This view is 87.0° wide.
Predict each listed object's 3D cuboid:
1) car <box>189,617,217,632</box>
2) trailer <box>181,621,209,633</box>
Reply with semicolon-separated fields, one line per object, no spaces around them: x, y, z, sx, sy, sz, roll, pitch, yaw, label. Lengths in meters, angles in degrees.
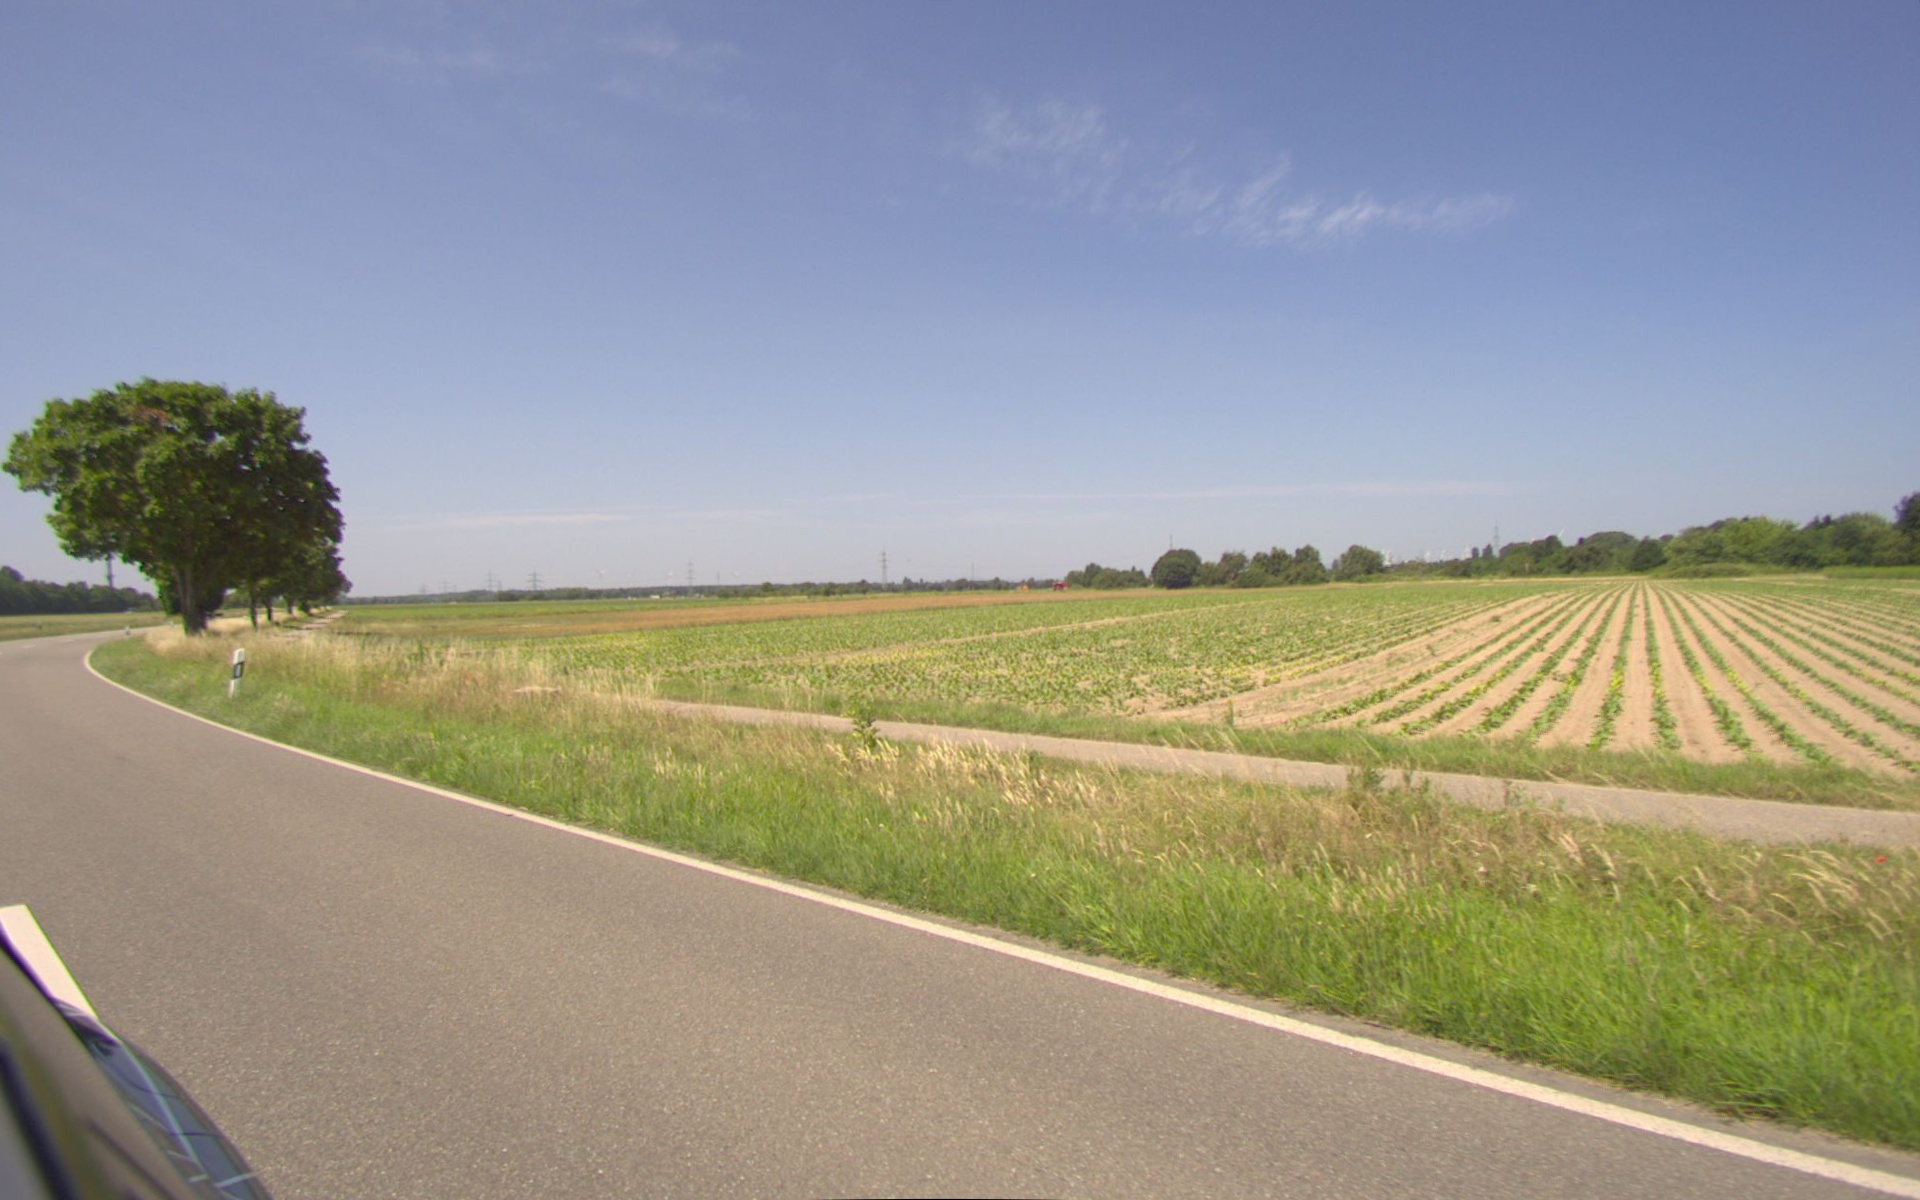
-74.727;2.408;99.943;1.621;1.440;4.193;2;-2;-30;car
-72.738;2.546;96.260;1.600;1.073;4.132;2;-2;-29;trailer
